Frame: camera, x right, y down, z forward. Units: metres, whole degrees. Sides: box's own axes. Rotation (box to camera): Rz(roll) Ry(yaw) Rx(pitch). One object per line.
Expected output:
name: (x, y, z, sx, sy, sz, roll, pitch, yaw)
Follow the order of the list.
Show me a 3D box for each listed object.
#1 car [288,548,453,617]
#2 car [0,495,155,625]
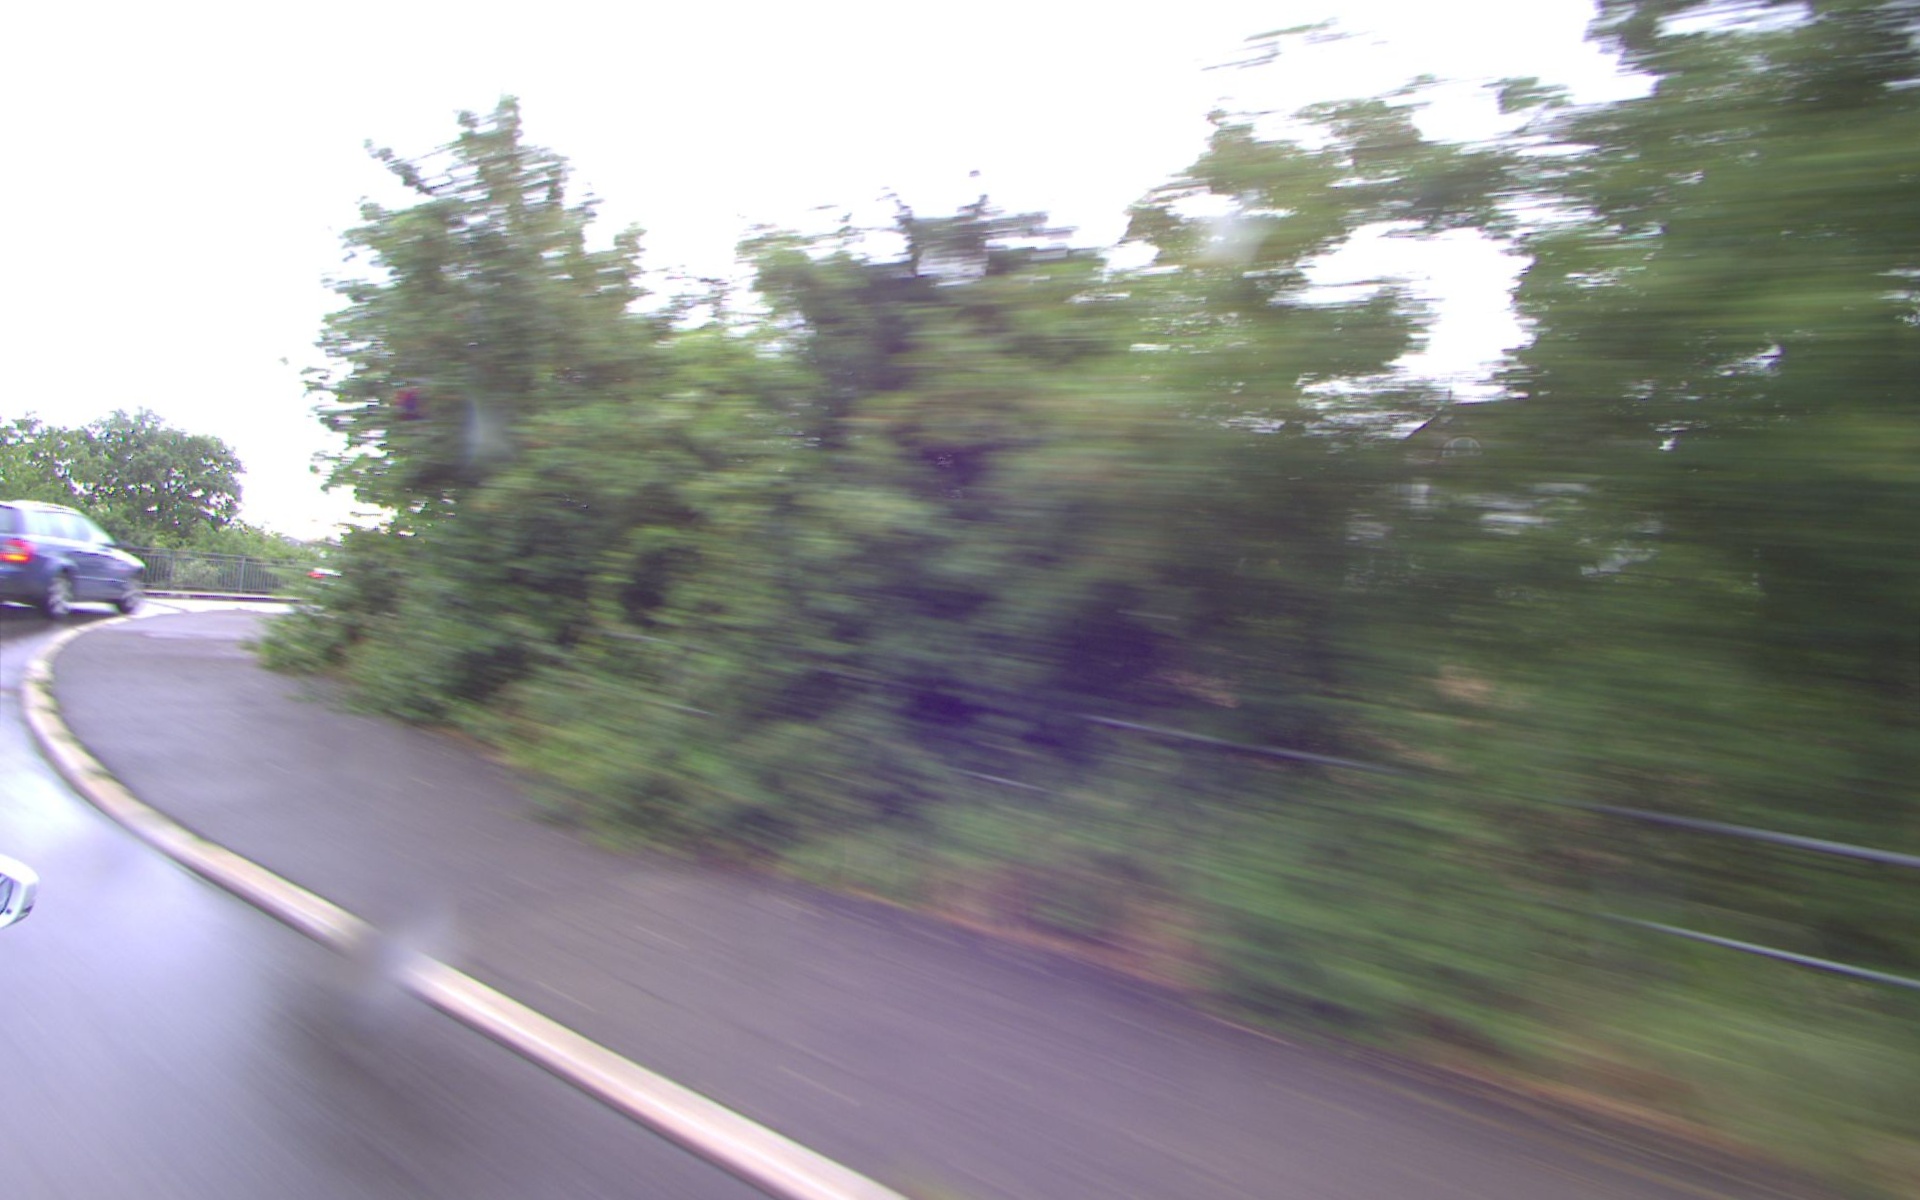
car: (-14.876, -0.370, 25.681, 1.862, 1.405, 4.000, 6, -1, -3)
car: (-12.514, -0.624, 13.361, 1.730, 1.425, 3.976, 6, 1, -23)
